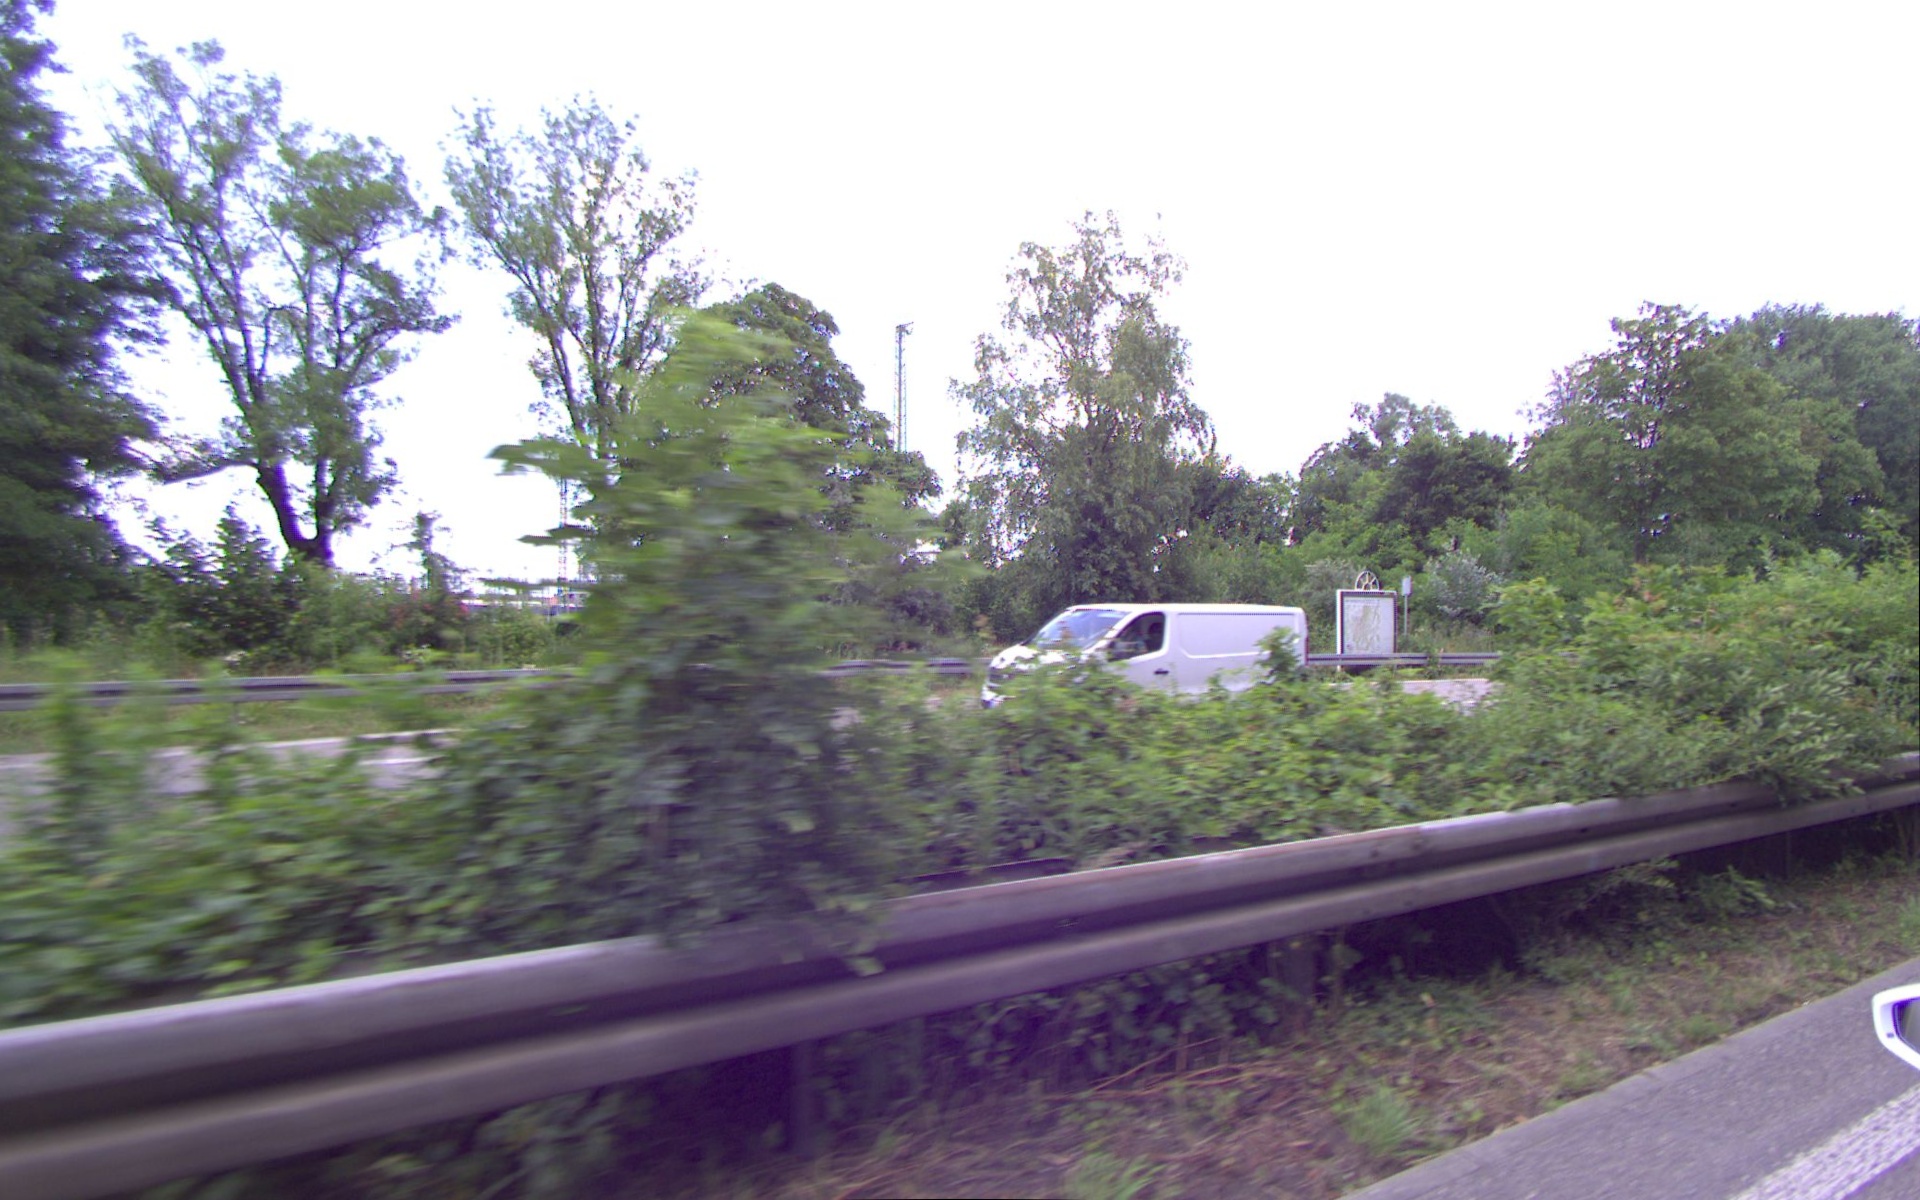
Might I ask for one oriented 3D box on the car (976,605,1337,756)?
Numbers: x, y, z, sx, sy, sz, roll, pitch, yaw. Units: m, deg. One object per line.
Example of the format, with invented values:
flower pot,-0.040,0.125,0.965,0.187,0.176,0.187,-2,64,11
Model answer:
car,3.073,1.109,15.253,5.471,1.954,1.984,1,-2,-30
